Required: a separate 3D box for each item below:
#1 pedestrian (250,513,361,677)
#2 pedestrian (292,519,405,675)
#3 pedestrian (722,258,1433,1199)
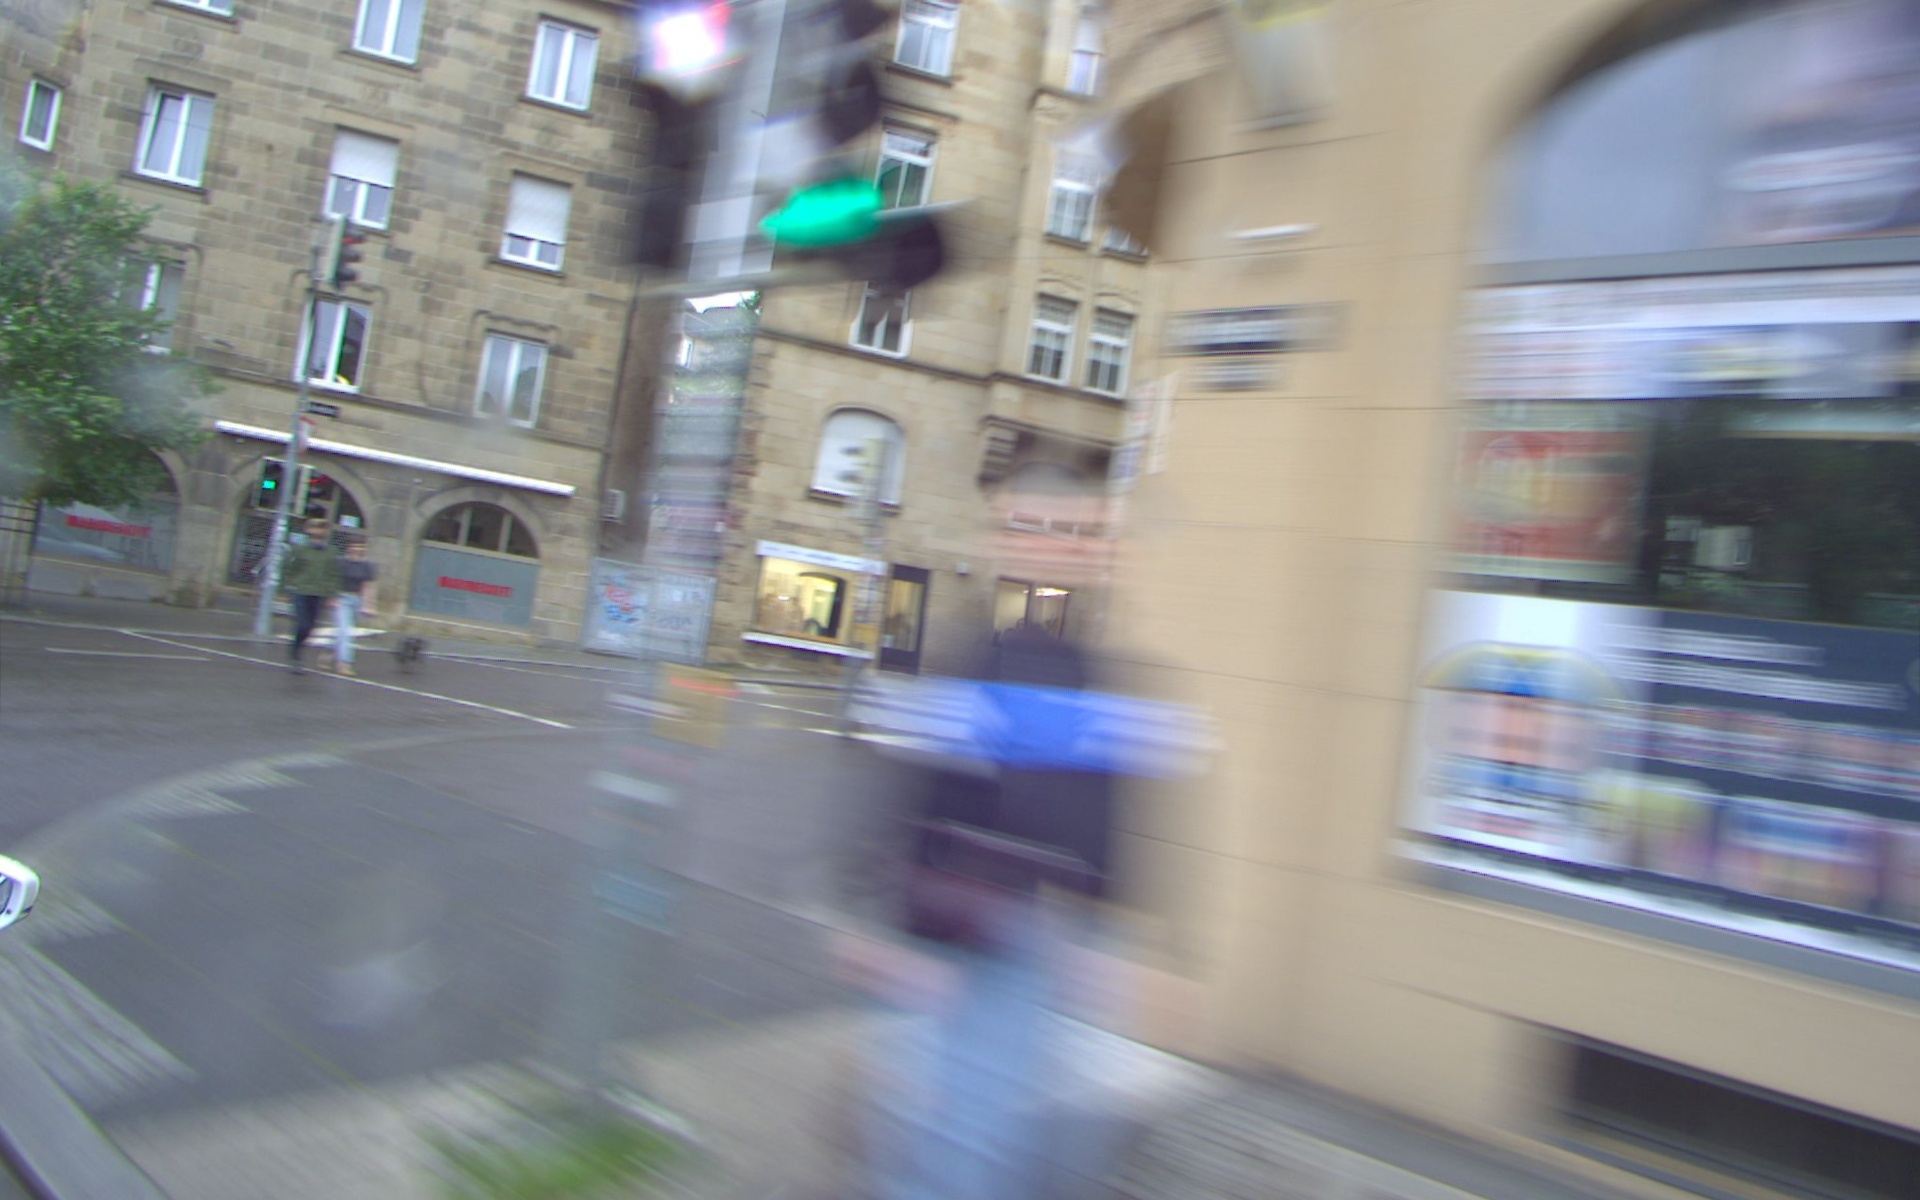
[{"bbox_3d":[-7.701,-0.055,11.839,0.875,1.810,0.595,6,-1,29],"label":"pedestrian"},{"bbox_3d":[-7.568,-0.034,12.457,0.886,1.810,0.683,6,-1,29],"label":"pedestrian"},{"bbox_3d":[0.096,0.515,1.920,0.888,1.864,0.965,5,1,-16],"label":"pedestrian"}]
